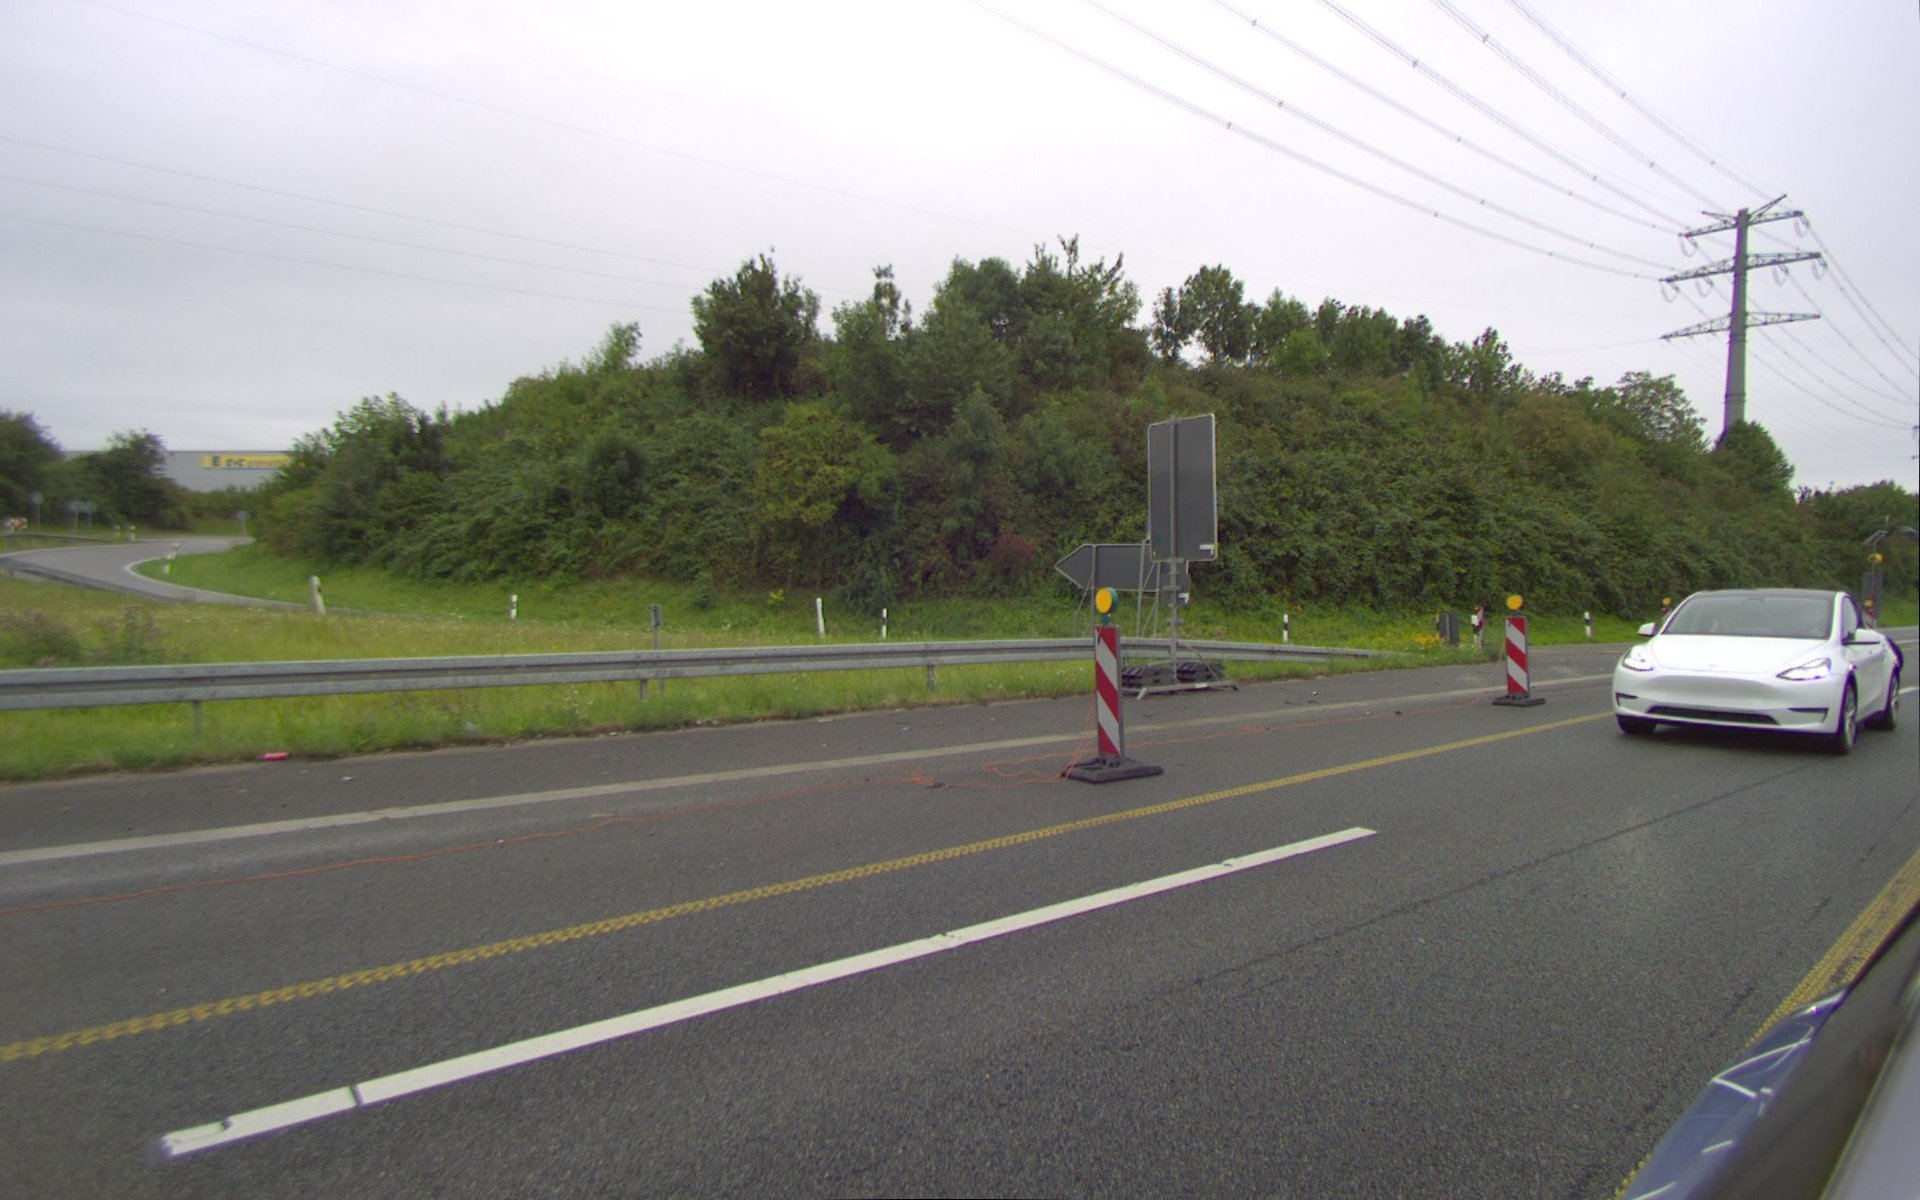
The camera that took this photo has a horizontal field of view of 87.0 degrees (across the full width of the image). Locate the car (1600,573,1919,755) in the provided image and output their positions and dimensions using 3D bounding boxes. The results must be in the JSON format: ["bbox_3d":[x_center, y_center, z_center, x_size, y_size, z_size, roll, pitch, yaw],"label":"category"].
[{"bbox_3d":[9.502,0.546,11.653,5.699,1.616,2.049,0,0,-41],"label":"car"}]
